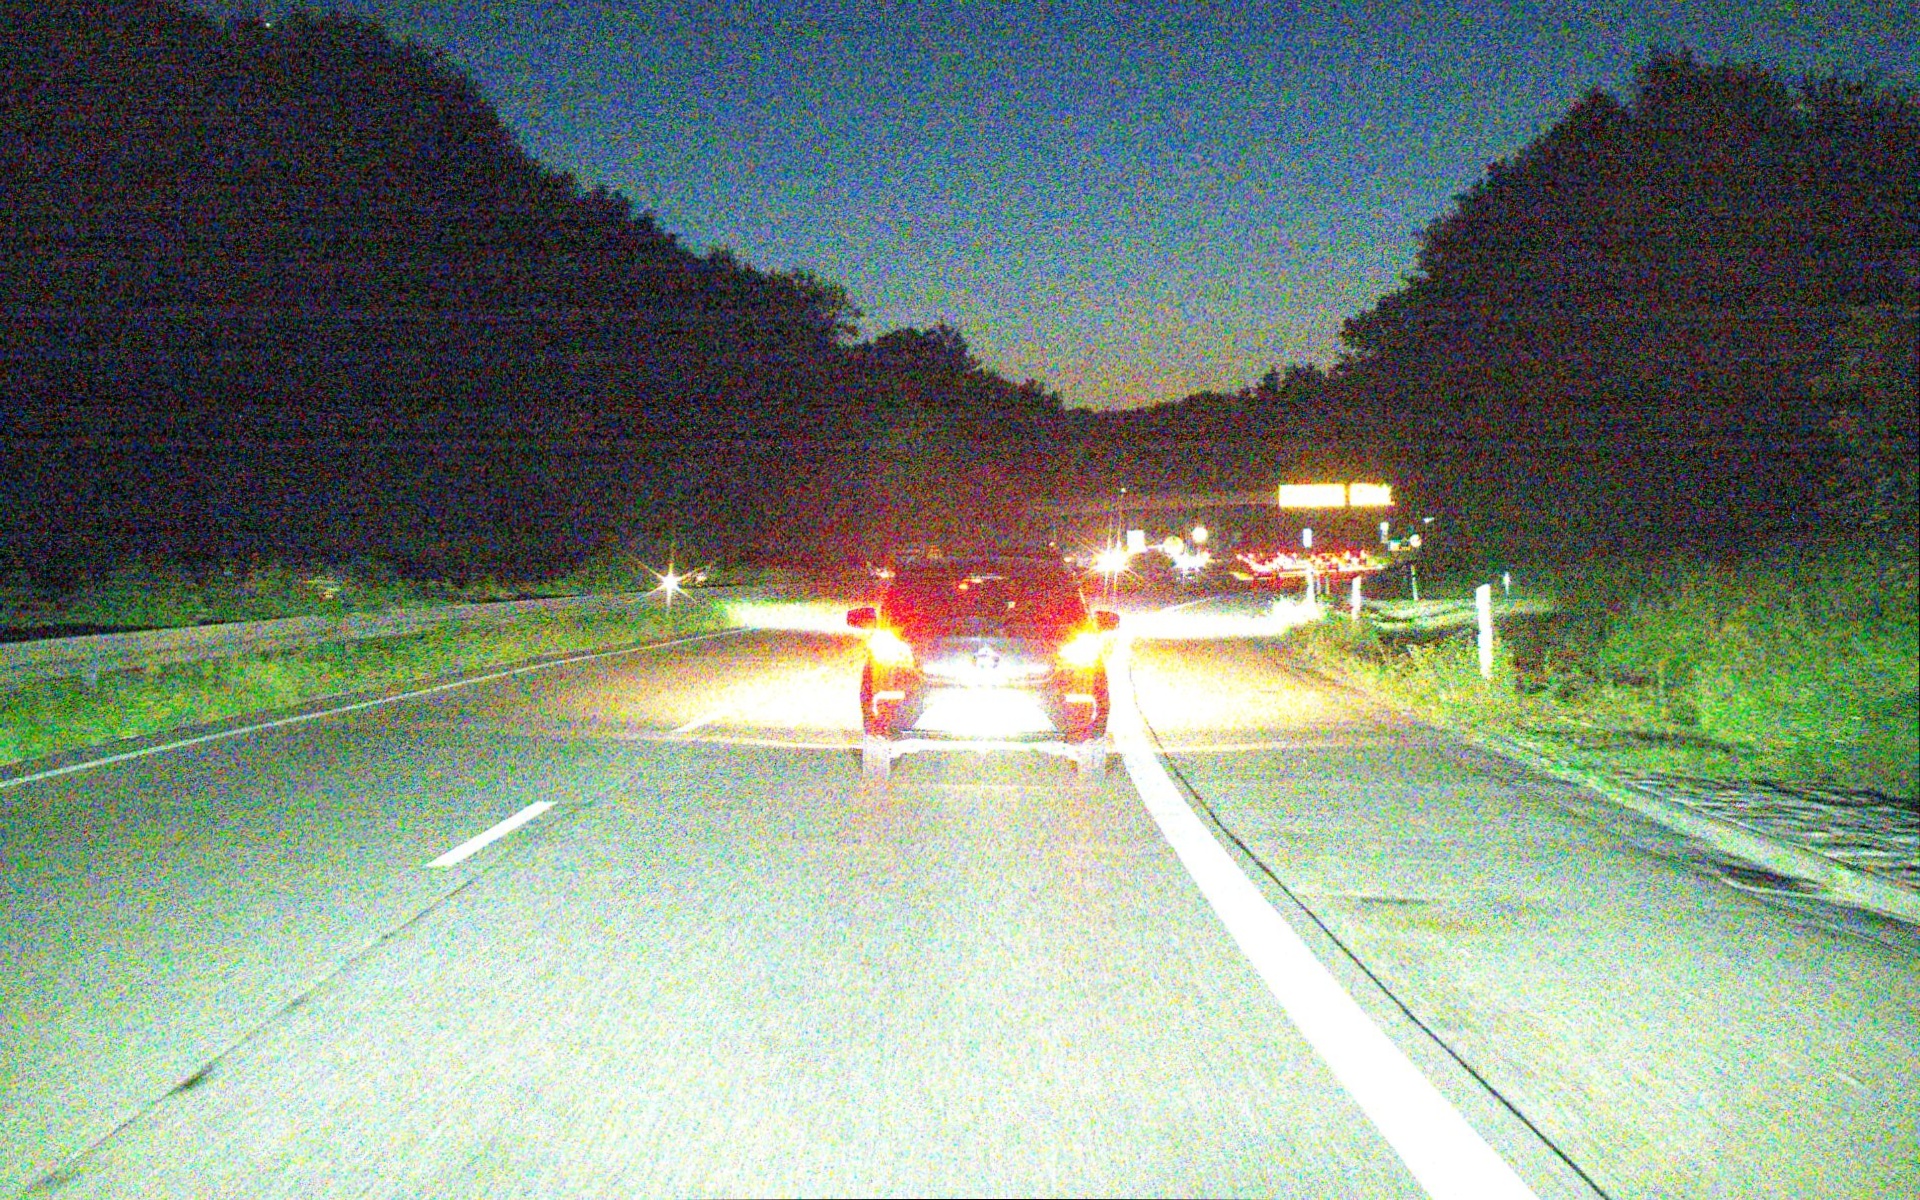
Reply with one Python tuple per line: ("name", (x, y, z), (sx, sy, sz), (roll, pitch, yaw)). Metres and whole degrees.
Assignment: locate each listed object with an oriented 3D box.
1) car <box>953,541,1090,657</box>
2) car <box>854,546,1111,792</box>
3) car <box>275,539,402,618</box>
("car", (0.995, -0.050, 53.191), (1.907, 1.692, 4.000), (0, 1, 4))
("car", (0.090, 0.404, 23.653), (1.588, 1.503, 4.000), (1, 1, -2))
("car", (-13.486, -0.482, 74.823), (1.993, 1.651, 4.535), (-1, 1, -1))
